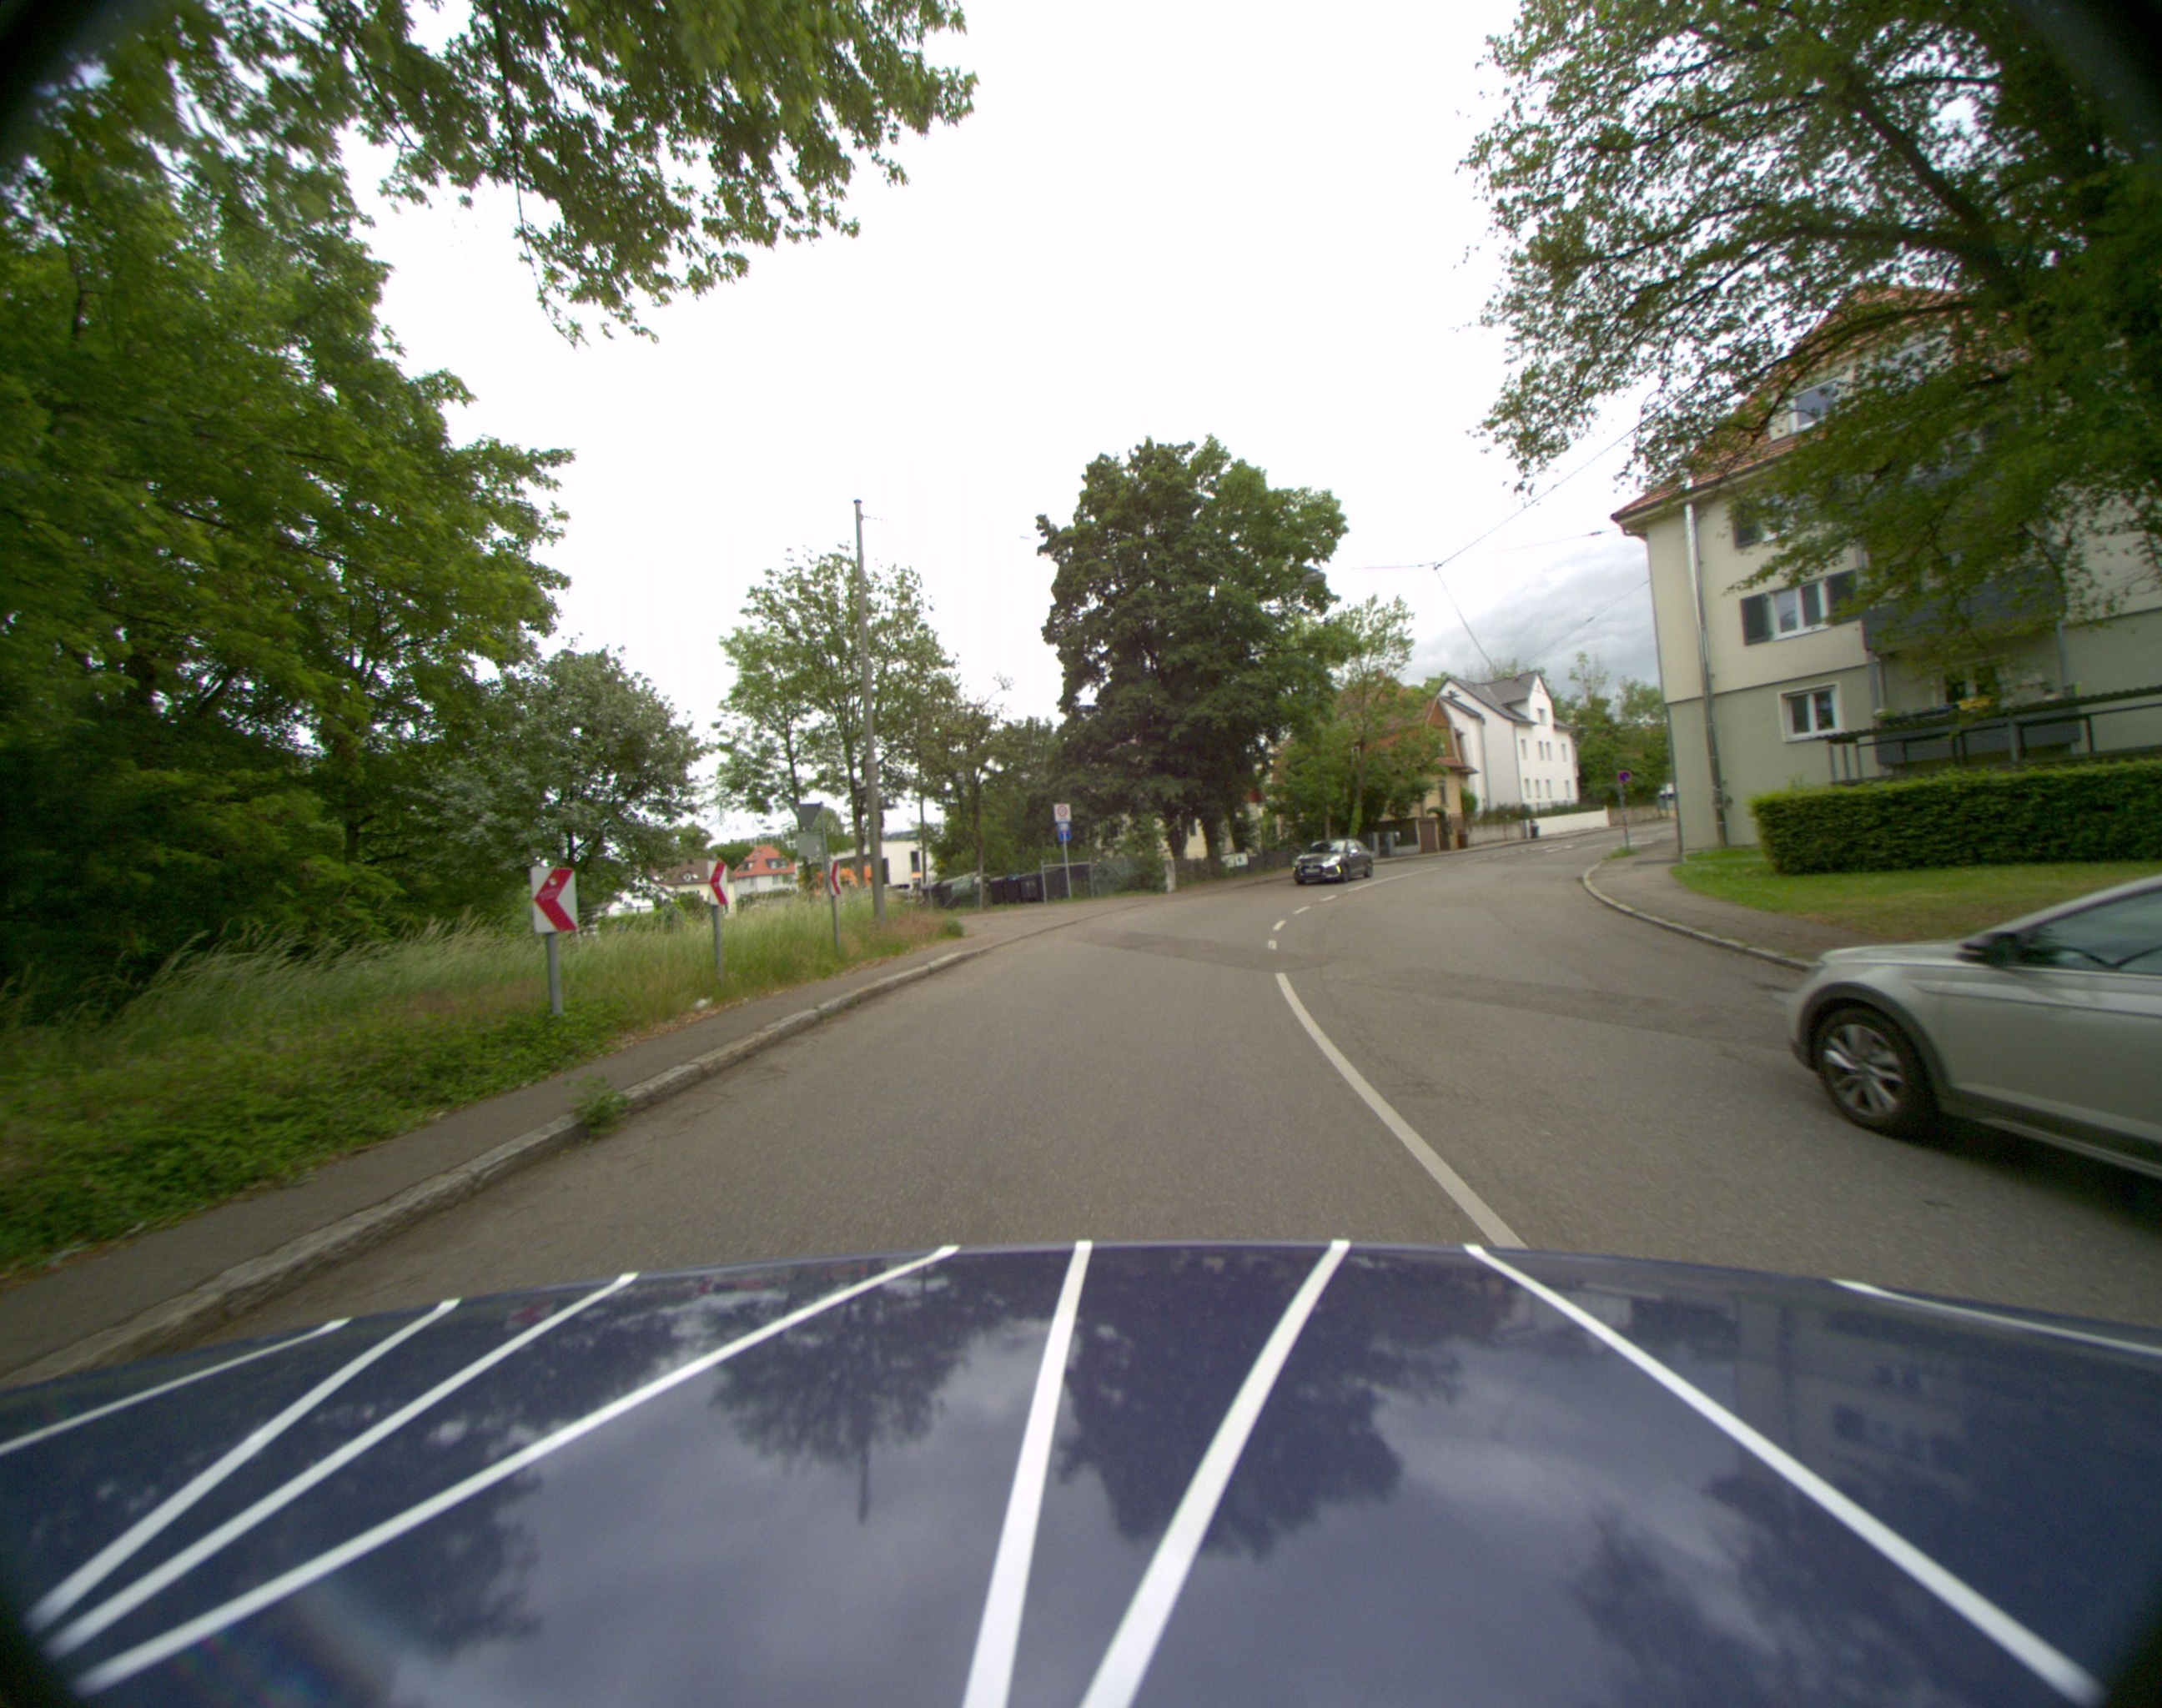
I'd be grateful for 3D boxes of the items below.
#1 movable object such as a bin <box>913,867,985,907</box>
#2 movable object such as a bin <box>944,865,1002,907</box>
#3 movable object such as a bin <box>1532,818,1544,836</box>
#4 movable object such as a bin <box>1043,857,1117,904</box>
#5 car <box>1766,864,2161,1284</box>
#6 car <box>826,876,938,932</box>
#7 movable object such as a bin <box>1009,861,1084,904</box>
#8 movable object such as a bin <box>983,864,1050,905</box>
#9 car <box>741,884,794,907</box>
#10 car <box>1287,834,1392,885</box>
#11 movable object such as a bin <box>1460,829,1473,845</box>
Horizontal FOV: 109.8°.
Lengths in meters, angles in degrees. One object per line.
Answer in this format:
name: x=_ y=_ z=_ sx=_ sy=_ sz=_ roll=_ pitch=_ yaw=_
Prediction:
movable object such as a bin: x=-5.759 y=1.448 z=32.958 sx=2.890 sy=1.538 sz=1.449 roll=-5 pitch=0 yaw=41
movable object such as a bin: x=-4.391 y=1.309 z=30.992 sx=1.423 sy=1.538 sz=1.678 roll=-5 pitch=0 yaw=41
movable object such as a bin: x=31.535 y=-1.859 z=52.445 sx=0.635 sy=1.172 sz=0.528 roll=-6 pitch=4 yaw=-39
movable object such as a bin: x=-0.042 y=1.151 z=33.240 sx=2.105 sy=1.776 sz=2.212 roll=-5 pitch=1 yaw=44
car: x=4.690 y=0.807 z=2.344 sx=1.728 sy=1.449 sz=4.080 roll=-1 pitch=1 yaw=5
car: x=-7.147 y=1.792 z=27.190 sx=3.665 sy=1.389 sz=1.834 roll=-11 pitch=-2 yaw=36
movable object such as a bin: x=-1.598 y=1.324 z=35.185 sx=2.494 sy=1.703 sz=2.212 roll=-5 pitch=0 yaw=44
movable object such as a bin: x=-3.151 y=1.472 z=36.994 sx=2.230 sy=1.722 sz=2.212 roll=-5 pitch=0 yaw=44
car: x=-61.045 y=8.112 z=147.947 sx=8.292 sy=3.362 sz=3.995 roll=-6 pitch=1 yaw=-42
car: x=8.927 y=0.164 z=26.115 sx=3.787 sy=1.390 sz=1.643 roll=-5 pitch=1 yaw=-41
movable object such as a bin: x=23.387 y=-1.059 z=46.090 sx=0.567 sy=0.919 sz=0.461 roll=-6 pitch=4 yaw=-39
